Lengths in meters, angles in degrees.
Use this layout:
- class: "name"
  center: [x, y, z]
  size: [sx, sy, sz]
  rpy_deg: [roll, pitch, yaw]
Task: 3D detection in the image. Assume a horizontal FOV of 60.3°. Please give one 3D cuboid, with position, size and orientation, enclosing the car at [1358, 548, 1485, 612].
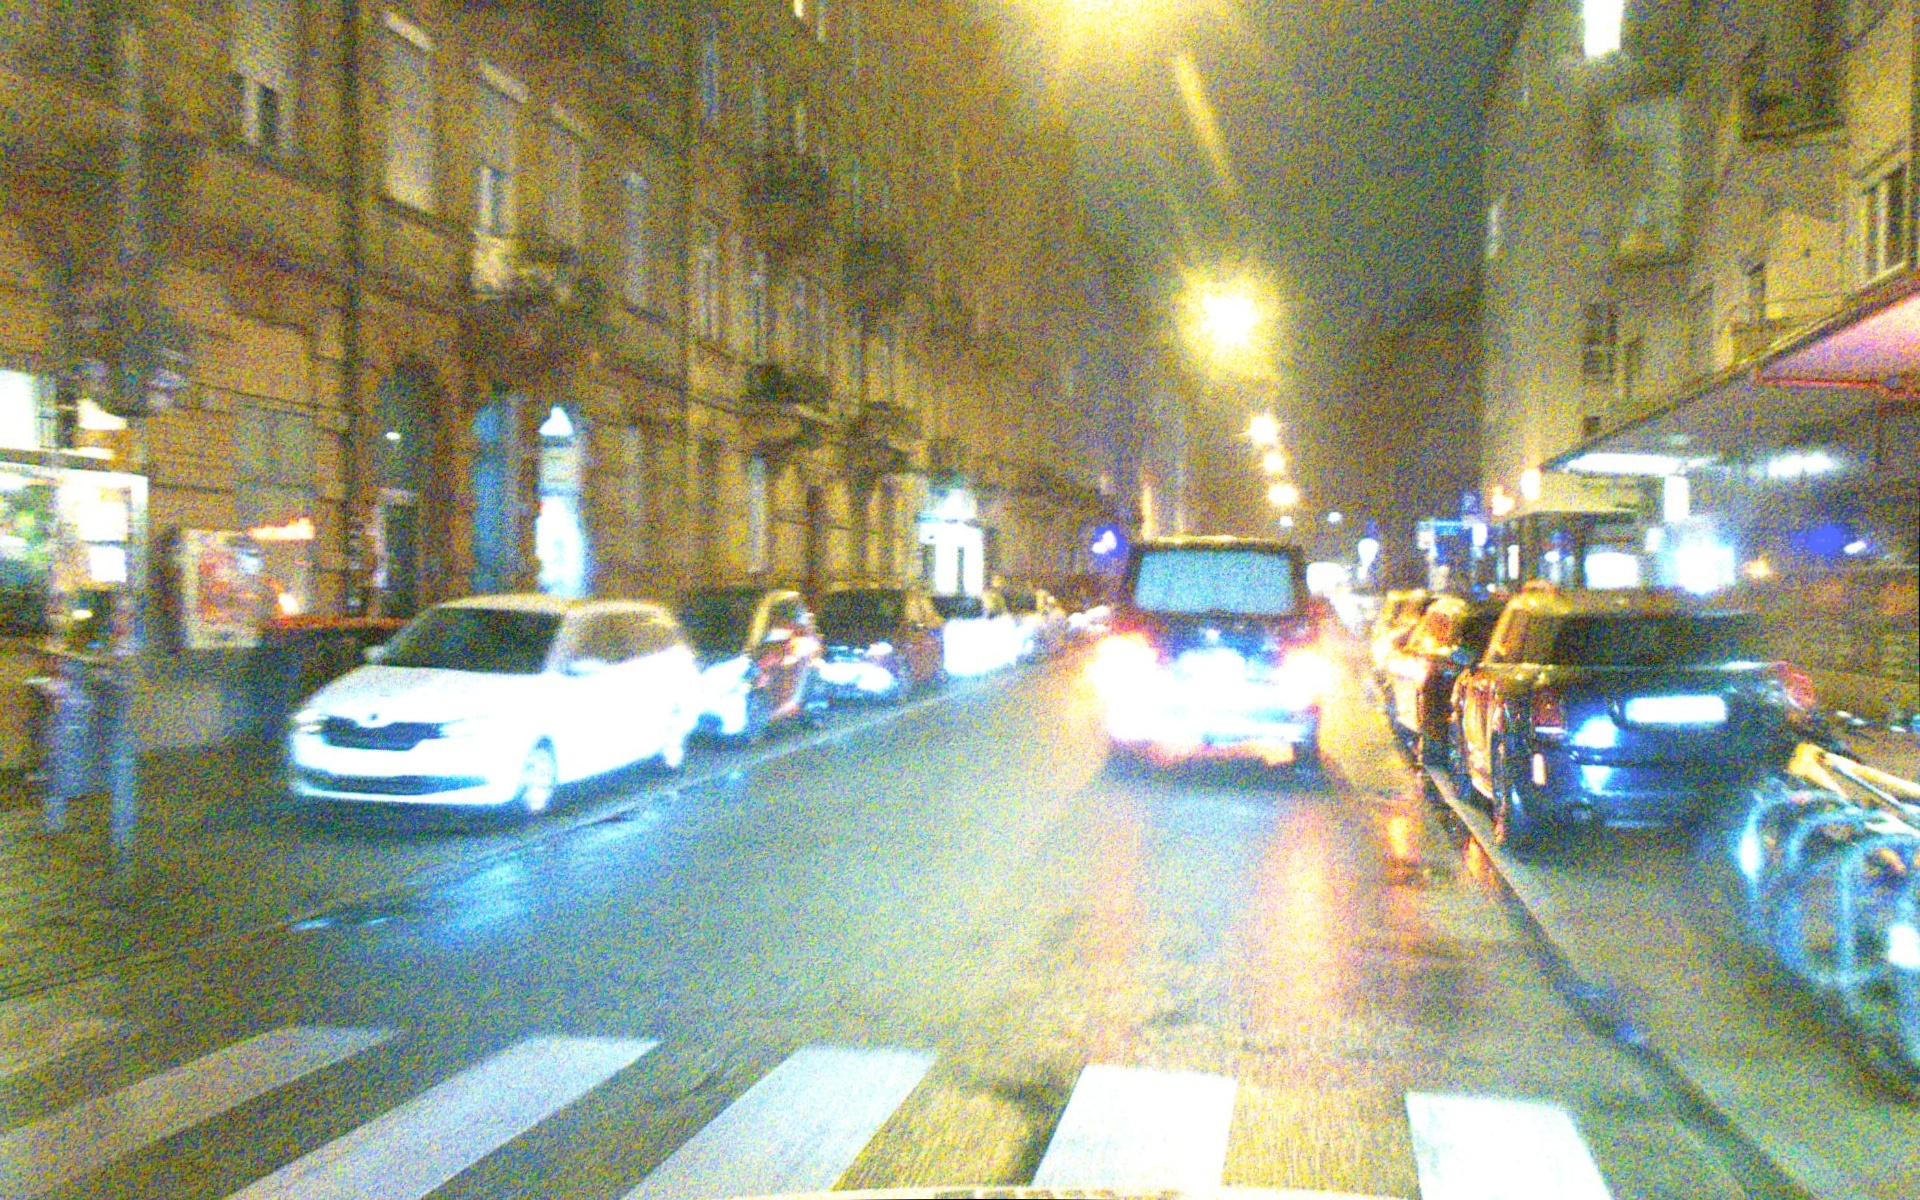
- class: "car"
  center: [15.107, -0.666, 54.350]
  size: [3.902, 2.048, 2.002]
  rpy_deg: [0, 1, 12]

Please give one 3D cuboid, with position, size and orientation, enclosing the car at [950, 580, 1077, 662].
- class: "car"
  center: [1.167, 0.373, 33.781]
  size: [1.716, 1.474, 4.627]
  rpy_deg: [2, 1, 12]

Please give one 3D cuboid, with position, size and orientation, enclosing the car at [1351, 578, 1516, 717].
- class: "car"
  center: [6.185, 0.578, 21.969]
  size: [1.715, 1.636, 3.993]
  rpy_deg: [1, 0, 10]

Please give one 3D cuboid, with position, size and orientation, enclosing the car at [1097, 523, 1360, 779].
- class: "car"
  center: [2.535, 0.374, 15.531]
  size: [2.077, 2.026, 4.605]
  rpy_deg: [0, 1, 10]

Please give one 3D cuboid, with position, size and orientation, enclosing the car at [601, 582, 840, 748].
- class: "car"
  center: [-2.376, 0.595, 17.021]
  size: [1.552, 1.536, 2.790]
  rpy_deg: [0, 1, 12]

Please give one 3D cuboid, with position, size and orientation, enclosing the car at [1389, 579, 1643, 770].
- class: "car"
  center: [5.212, 0.628, 16.044]
  size: [1.715, 1.565, 4.402]
  rpy_deg: [1, 0, 10]

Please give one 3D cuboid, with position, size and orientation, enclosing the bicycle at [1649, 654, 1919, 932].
- class: "bicycle"
  center: [4.102, 0.848, 7.452]
  size: [1.724, 1.144, 0.436]
  rpy_deg: [-4, 0, 10]

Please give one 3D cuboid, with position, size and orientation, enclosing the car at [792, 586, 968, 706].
- class: "car"
  center: [-1.018, 0.561, 22.687]
  size: [1.552, 1.474, 3.506]
  rpy_deg: [0, 1, 12]

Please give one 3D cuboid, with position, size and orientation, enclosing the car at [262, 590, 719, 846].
- class: "car"
  center: [-3.284, 0.726, 12.446]
  size: [1.552, 1.489, 4.028]
  rpy_deg: [3, 1, 12]

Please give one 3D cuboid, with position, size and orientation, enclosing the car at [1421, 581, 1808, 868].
- class: "car"
  center: [4.301, 0.709, 11.512]
  size: [1.715, 1.593, 4.158]
  rpy_deg: [1, 0, 10]

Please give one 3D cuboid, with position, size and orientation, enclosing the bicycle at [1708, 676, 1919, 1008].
- class: "bicycle"
  center: [3.709, 0.861, 6.005]
  size: [1.745, 1.144, 0.436]
  rpy_deg: [-1, 0, 10]

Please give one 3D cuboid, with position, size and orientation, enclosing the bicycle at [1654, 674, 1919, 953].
- class: "bicycle"
  center: [3.848, 0.870, 6.871]
  size: [1.724, 1.098, 0.436]
  rpy_deg: [0, 1, 10]

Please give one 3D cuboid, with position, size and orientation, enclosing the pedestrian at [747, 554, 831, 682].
- class: "pedestrian"
  center: [-2.612, 0.268, 25.374]
  size: [1.010, 1.897, 0.978]
  rpy_deg: [2, 0, 9]

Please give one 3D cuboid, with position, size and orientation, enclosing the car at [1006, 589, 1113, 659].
- class: "car"
  center: [2.368, 0.525, 38.415]
  size: [1.951, 1.474, 4.003]
  rpy_deg: [2, 0, 11]

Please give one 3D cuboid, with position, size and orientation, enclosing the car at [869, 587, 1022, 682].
- class: "car"
  center: [-0.151, 0.510, 27.744]
  size: [1.654, 1.425, 4.321]
  rpy_deg: [1, 1, 12]

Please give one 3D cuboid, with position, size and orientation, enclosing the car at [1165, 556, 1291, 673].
- class: "car"
  center: [4.870, 0.206, 30.254]
  size: [2.077, 1.956, 4.830]
  rpy_deg: [1, 1, 8]

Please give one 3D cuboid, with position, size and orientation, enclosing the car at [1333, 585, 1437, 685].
- class: "car"
  center: [7.174, 0.568, 28.170]
  size: [1.558, 1.570, 3.423]
  rpy_deg: [1, 0, 12]
